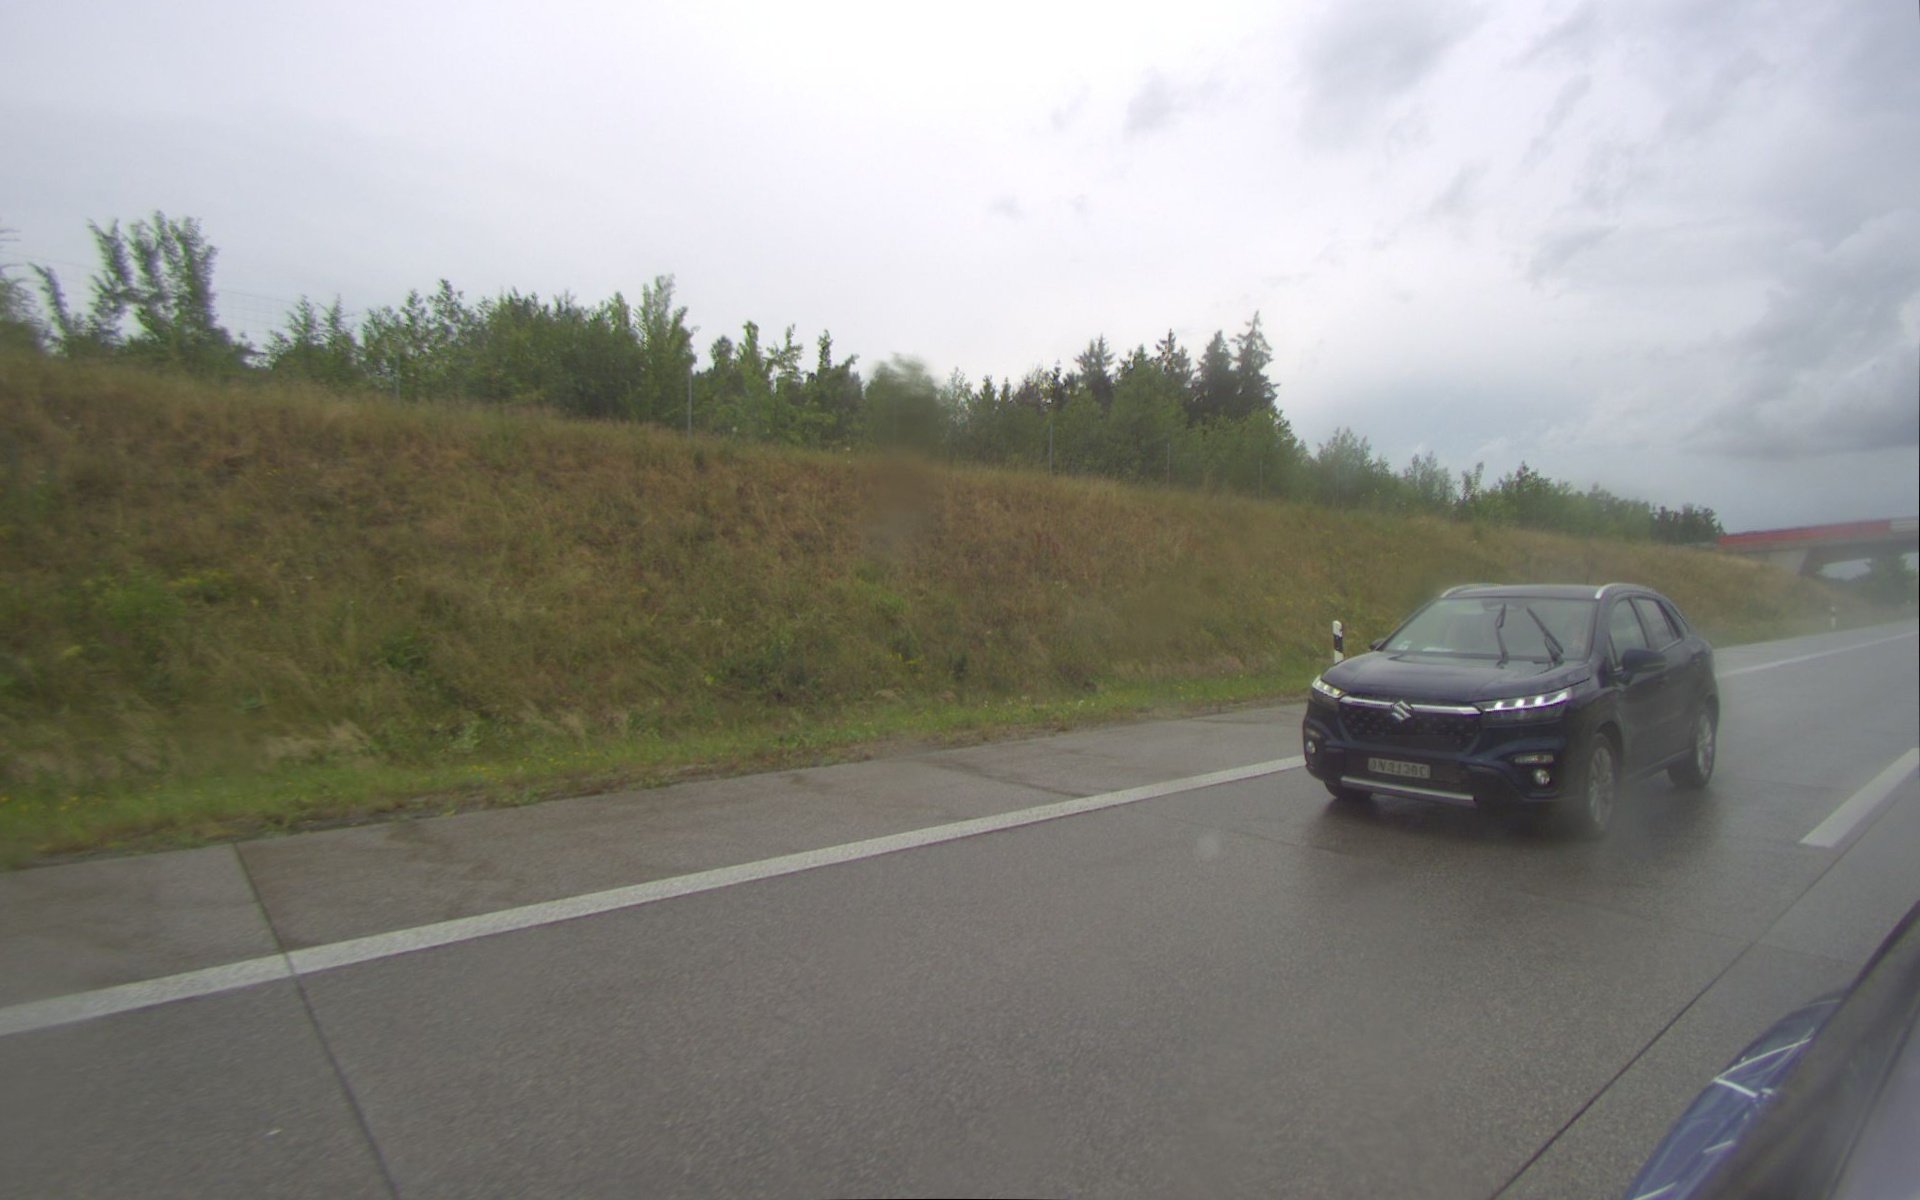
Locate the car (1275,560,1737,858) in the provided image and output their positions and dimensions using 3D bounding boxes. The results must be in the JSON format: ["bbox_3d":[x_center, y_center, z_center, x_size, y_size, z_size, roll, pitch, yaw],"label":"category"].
[{"bbox_3d":[4.074,0.585,7.337,3.570,1.596,1.896,0,0,-42],"label":"car"}]
